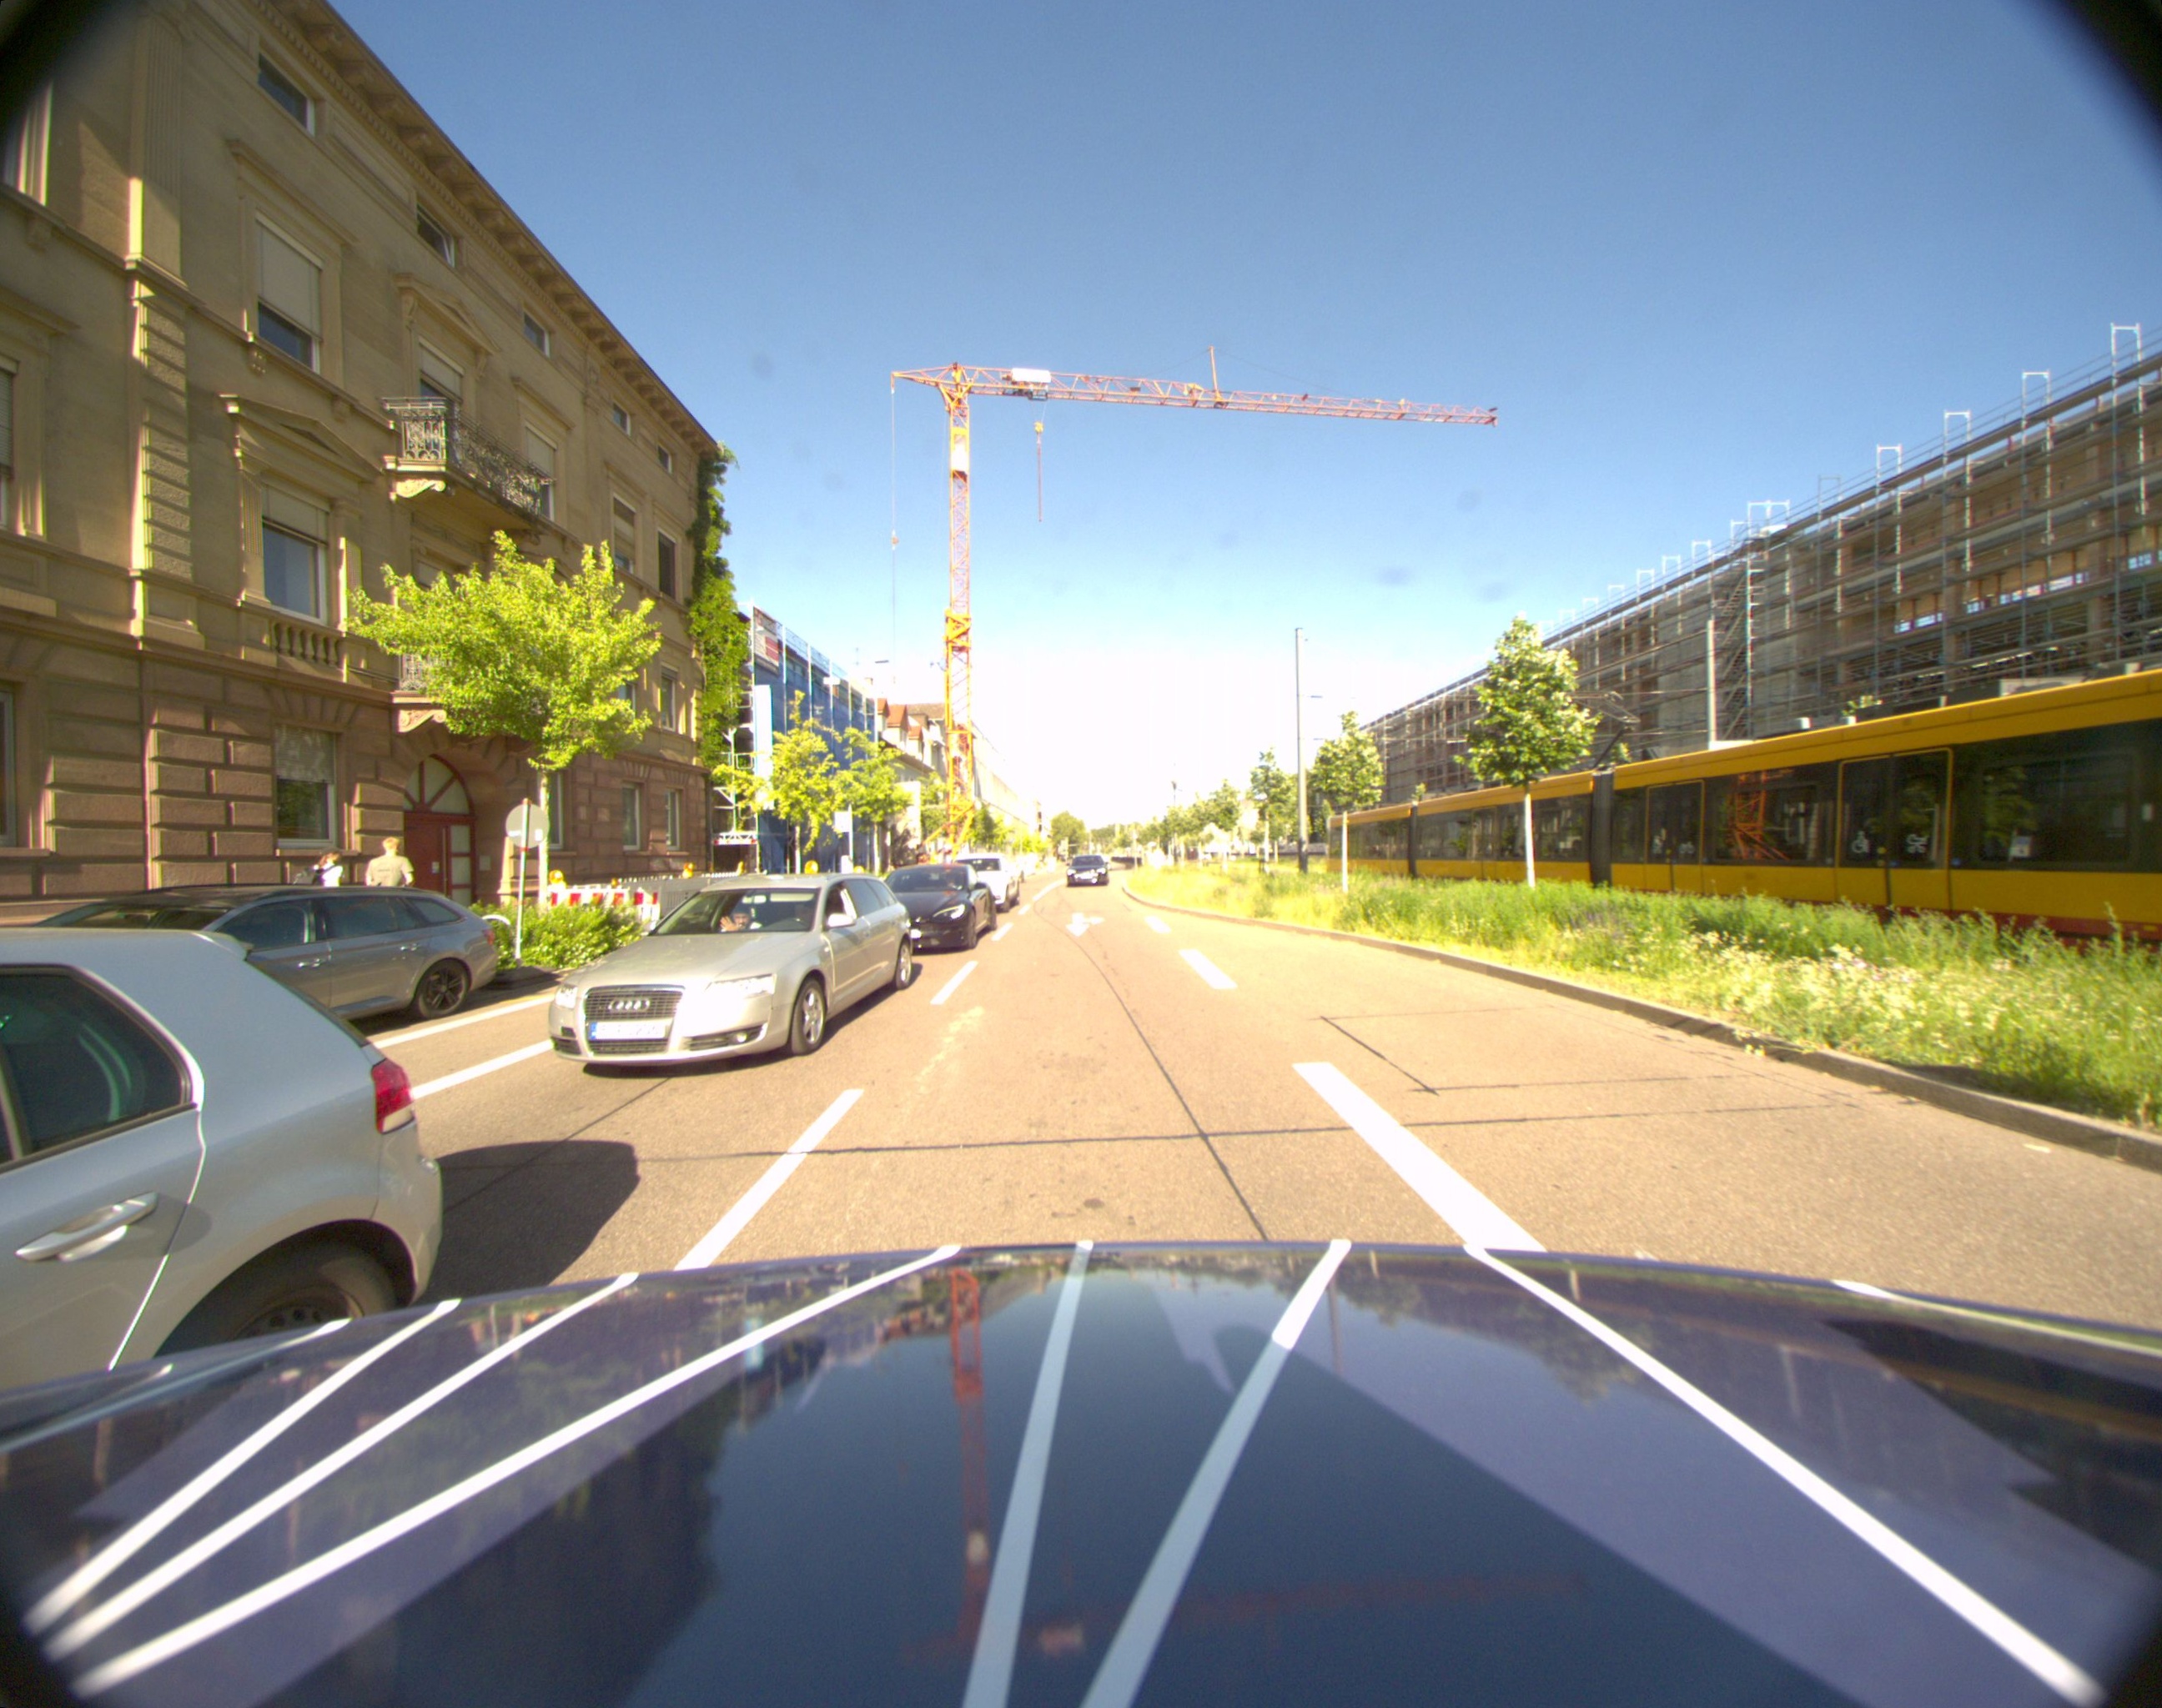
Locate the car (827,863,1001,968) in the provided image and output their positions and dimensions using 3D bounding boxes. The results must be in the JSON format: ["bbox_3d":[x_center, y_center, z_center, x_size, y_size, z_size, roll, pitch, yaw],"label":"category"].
[{"bbox_3d":[-2.762,0.949,13.736,2.056,1.435,4.524,-2,0,0],"label":"car"}]

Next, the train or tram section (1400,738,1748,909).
[{"bbox_3d":[13.192,-0.689,22.624,2.822,3.617,12.791,-1,0,4],"label":"train or tram section"}]

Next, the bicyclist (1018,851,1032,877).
[{"bbox_3d":[-3.317,0.589,44.811,0.755,1.454,0.587,-2,1,-5],"label":"bicyclist"}]

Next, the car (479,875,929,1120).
[{"bbox_3d":[-2.966,1.013,7.403,1.752,1.419,4.839,-2,0,2],"label":"car"}]

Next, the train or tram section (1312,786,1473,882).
[{"bbox_3d":[13.827,-0.815,35.416,2.822,3.617,12.790,-1,0,3],"label":"train or tram section"}]

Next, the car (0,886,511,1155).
[{"bbox_3d":[-7.640,1.141,6.701,1.652,1.467,4.700,2,0,0],"label":"car"}]

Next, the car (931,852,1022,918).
[{"bbox_3d":[-2.857,0.805,21.682,1.934,1.624,4.000,-2,0,1],"label":"car"}]

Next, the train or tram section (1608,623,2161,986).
[{"bbox_3d":[12.363,-0.529,9.925,2.822,3.617,12.791,-1,0,4],"label":"train or tram section"}]

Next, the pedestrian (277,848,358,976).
[{"bbox_3d":[-11.215,0.830,11.173,0.564,1.810,0.587,2,1,0],"label":"pedestrian"}]

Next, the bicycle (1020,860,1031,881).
[{"bbox_3d":[-3.303,0.965,44.801,0.610,1.144,1.986,-1,0,-5],"label":"bicycle"}]

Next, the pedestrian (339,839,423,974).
[{"bbox_3d":[-10.264,0.751,11.156,0.660,1.902,0.587,2,1,0],"label":"pedestrian"}]

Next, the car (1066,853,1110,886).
[{"bbox_3d":[0.384,0.716,36.648,1.927,1.435,4.177,-1,0,3],"label":"car"}]

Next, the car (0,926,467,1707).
[{"bbox_3d":[-2.821,1.017,0.322,1.754,1.518,4.005,-2,0,1],"label":"car"}]
